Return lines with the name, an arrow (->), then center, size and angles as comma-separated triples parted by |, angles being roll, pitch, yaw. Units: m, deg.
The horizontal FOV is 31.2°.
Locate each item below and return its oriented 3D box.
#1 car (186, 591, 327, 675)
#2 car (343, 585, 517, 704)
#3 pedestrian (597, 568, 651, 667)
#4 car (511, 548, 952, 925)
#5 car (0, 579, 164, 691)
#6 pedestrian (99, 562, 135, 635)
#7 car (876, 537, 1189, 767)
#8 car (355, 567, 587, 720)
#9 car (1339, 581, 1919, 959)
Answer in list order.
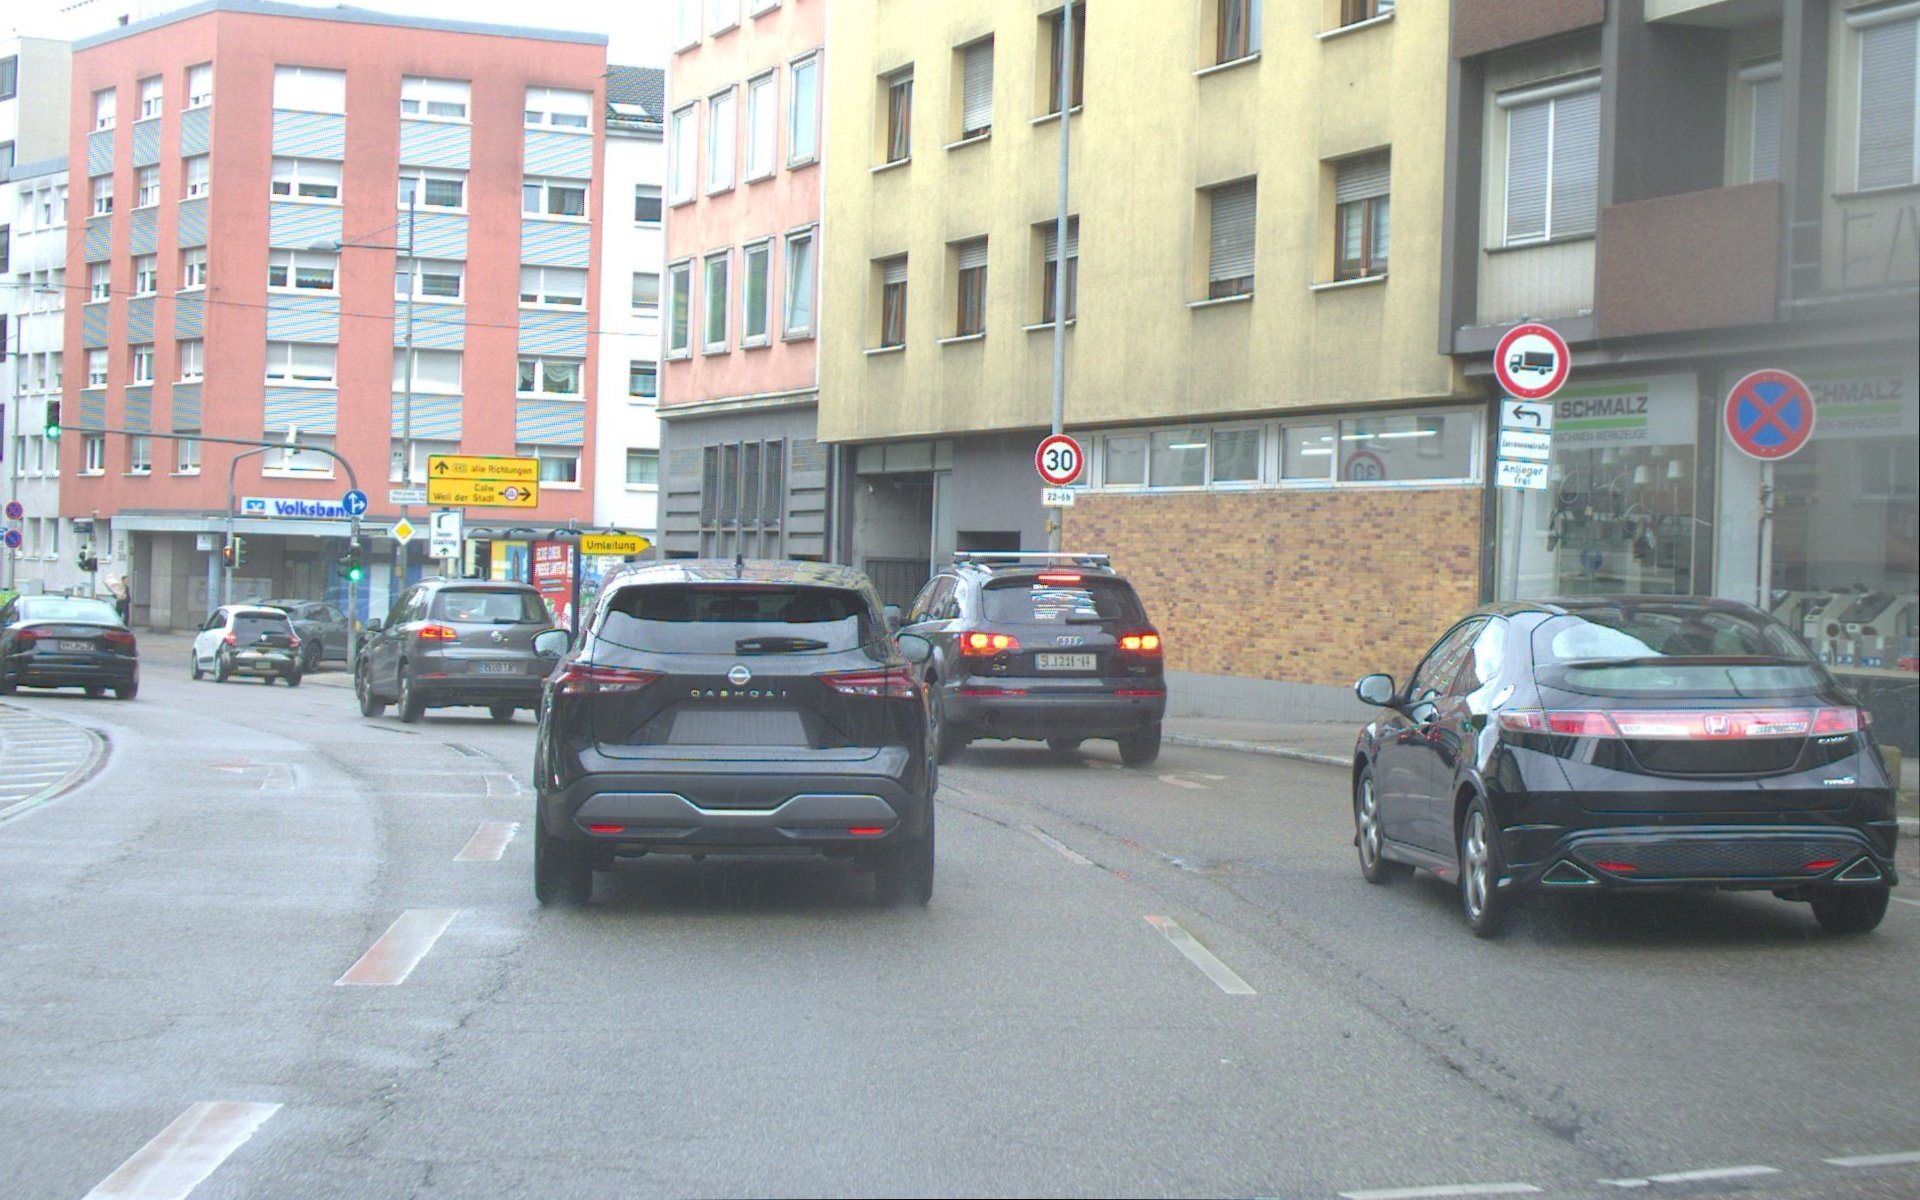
car -> -14.152, 0.650, 68.970 | 1.993, 1.481, 4.001 | 4, 0, -22
car -> -8.550, 0.678, 55.205 | 1.945, 1.810, 4.001 | -1, 1, -21
pedestrian -> -6.155, 0.319, 62.940 | 0.672, 1.781, 1.095 | 2, 0, -20
car -> -1.199, 0.579, 16.886 | 1.894, 1.623, 4.001 | 1, 0, -6
car -> -12.679, 0.454, 48.509 | 1.993, 1.383, 4.501 | 4, 0, -23
pedestrian -> -25.505, -0.054, 104.028 | 0.825, 2.151, 0.770 | 4, -1, -24
car -> 0.540, 0.407, 30.555 | 2.020, 1.863, 4.900 | 0, 0, -8
car -> -5.756, 0.464, 40.062 | 1.945, 1.679, 4.001 | -1, 1, -19
car -> 2.961, 0.670, 15.831 | 1.783, 1.491, 4.057 | 0, 1, -3
